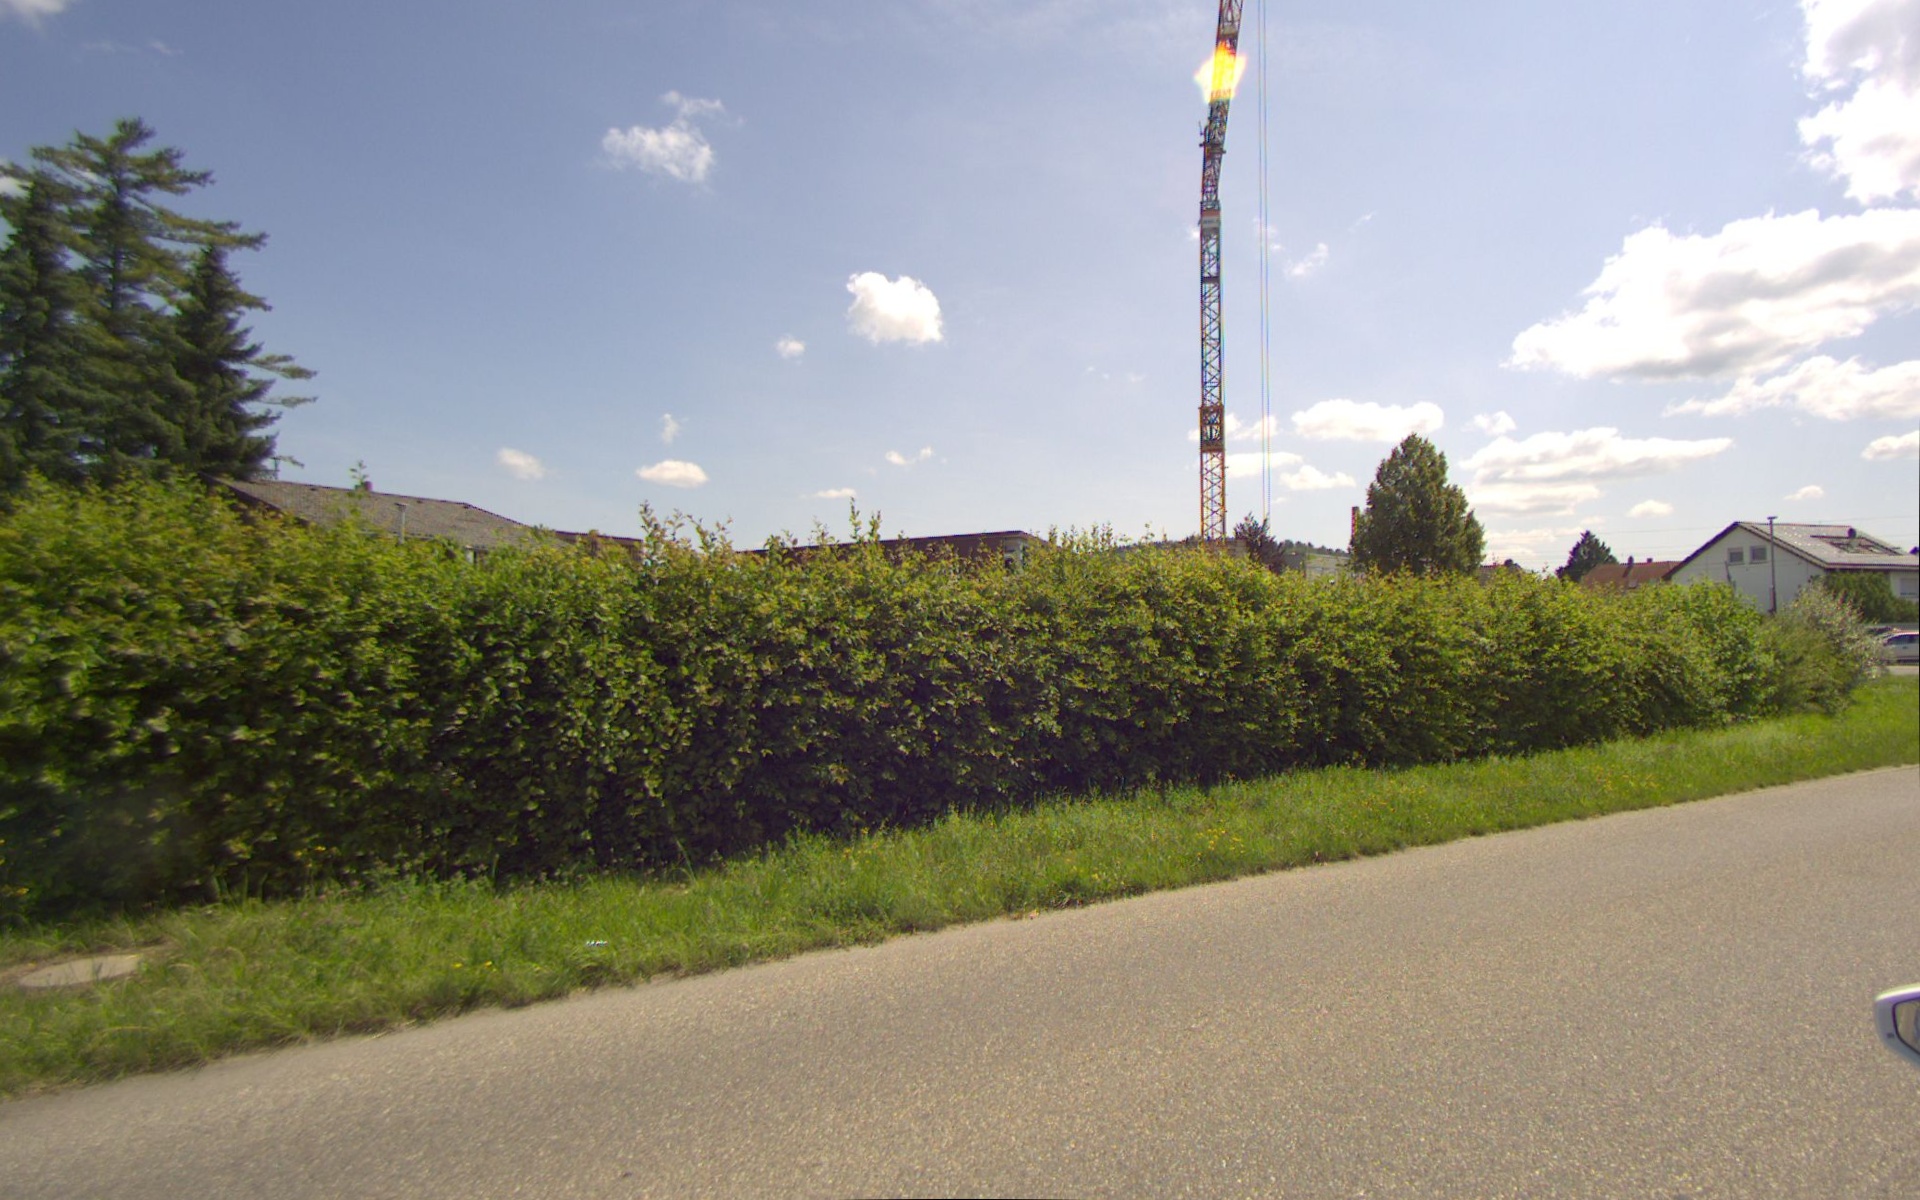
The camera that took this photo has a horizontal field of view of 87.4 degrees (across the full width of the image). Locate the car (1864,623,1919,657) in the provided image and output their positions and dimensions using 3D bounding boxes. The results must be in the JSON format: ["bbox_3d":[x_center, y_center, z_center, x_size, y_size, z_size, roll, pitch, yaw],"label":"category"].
[{"bbox_3d":[44.769,1.852,46.745,3.956,1.582,1.813,-2,-3,42],"label":"car"}]

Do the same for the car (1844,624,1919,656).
[{"bbox_3d":[47.532,2.041,51.056,1.683,1.579,3.747,1,-3,-43],"label":"car"}]

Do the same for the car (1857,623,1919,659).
[{"bbox_3d":[46.252,1.975,48.607,4.117,1.660,1.944,-4,-4,43],"label":"car"}]

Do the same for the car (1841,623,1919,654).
[{"bbox_3d":[48.962,2.017,52.879,3.792,1.610,1.488,-2,-3,45],"label":"car"}]
